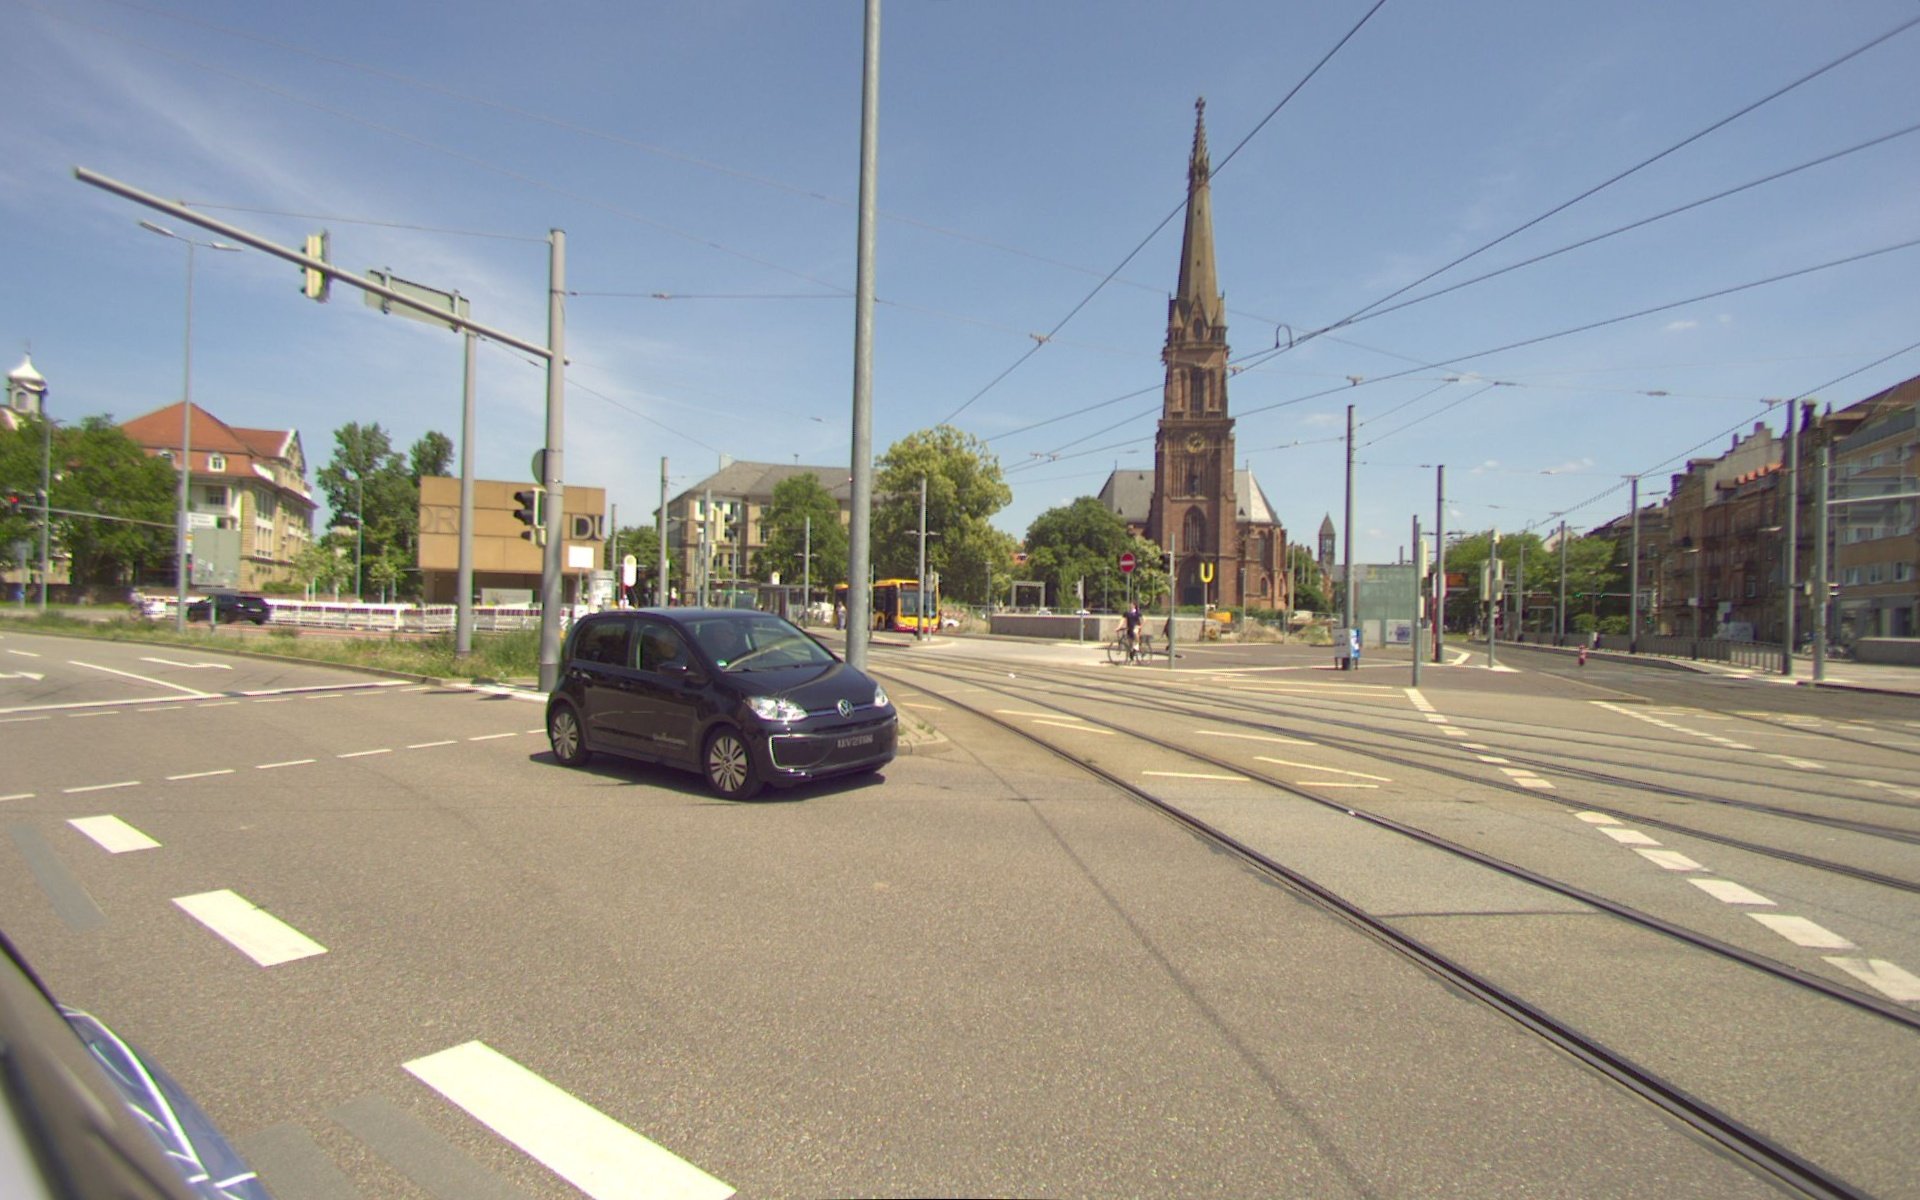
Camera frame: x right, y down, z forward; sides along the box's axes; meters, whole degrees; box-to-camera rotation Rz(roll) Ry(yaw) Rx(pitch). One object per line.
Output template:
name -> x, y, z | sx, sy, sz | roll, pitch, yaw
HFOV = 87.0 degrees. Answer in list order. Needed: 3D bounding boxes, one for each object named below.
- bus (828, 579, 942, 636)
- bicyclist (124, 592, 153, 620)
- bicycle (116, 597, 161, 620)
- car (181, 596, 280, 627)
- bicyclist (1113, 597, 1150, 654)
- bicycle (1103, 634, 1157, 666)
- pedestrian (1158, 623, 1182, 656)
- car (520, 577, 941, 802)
bus -> -4.733, 0.456, 60.166 | 2.807, 3.039, 12.261 | 1, -1, -23
bicyclist -> -41.921, 0.295, 51.636 | 1.431, 1.366, 0.582 | 1, 1, 24
bicycle -> -41.957, 0.418, 51.674 | 2.219, 1.080, 0.872 | 1, 1, 24
car -> -36.160, 0.565, 50.147 | 4.821, 1.476, 1.982 | 1, -1, 27
bicyclist -> 4.859, 0.707, 28.620 | 0.438, 1.541, 1.236 | 1, 1, 42
bicycle -> 4.818, 1.400, 28.601 | 0.628, 0.861, 1.873 | 0, -1, 42
pedestrian -> 8.889, 1.659, 42.843 | 0.518, 1.344, 1.001 | 1, -1, -19
car -> -2.143, 0.645, 9.004 | 3.734, 1.588, 1.726 | 0, -1, 40
